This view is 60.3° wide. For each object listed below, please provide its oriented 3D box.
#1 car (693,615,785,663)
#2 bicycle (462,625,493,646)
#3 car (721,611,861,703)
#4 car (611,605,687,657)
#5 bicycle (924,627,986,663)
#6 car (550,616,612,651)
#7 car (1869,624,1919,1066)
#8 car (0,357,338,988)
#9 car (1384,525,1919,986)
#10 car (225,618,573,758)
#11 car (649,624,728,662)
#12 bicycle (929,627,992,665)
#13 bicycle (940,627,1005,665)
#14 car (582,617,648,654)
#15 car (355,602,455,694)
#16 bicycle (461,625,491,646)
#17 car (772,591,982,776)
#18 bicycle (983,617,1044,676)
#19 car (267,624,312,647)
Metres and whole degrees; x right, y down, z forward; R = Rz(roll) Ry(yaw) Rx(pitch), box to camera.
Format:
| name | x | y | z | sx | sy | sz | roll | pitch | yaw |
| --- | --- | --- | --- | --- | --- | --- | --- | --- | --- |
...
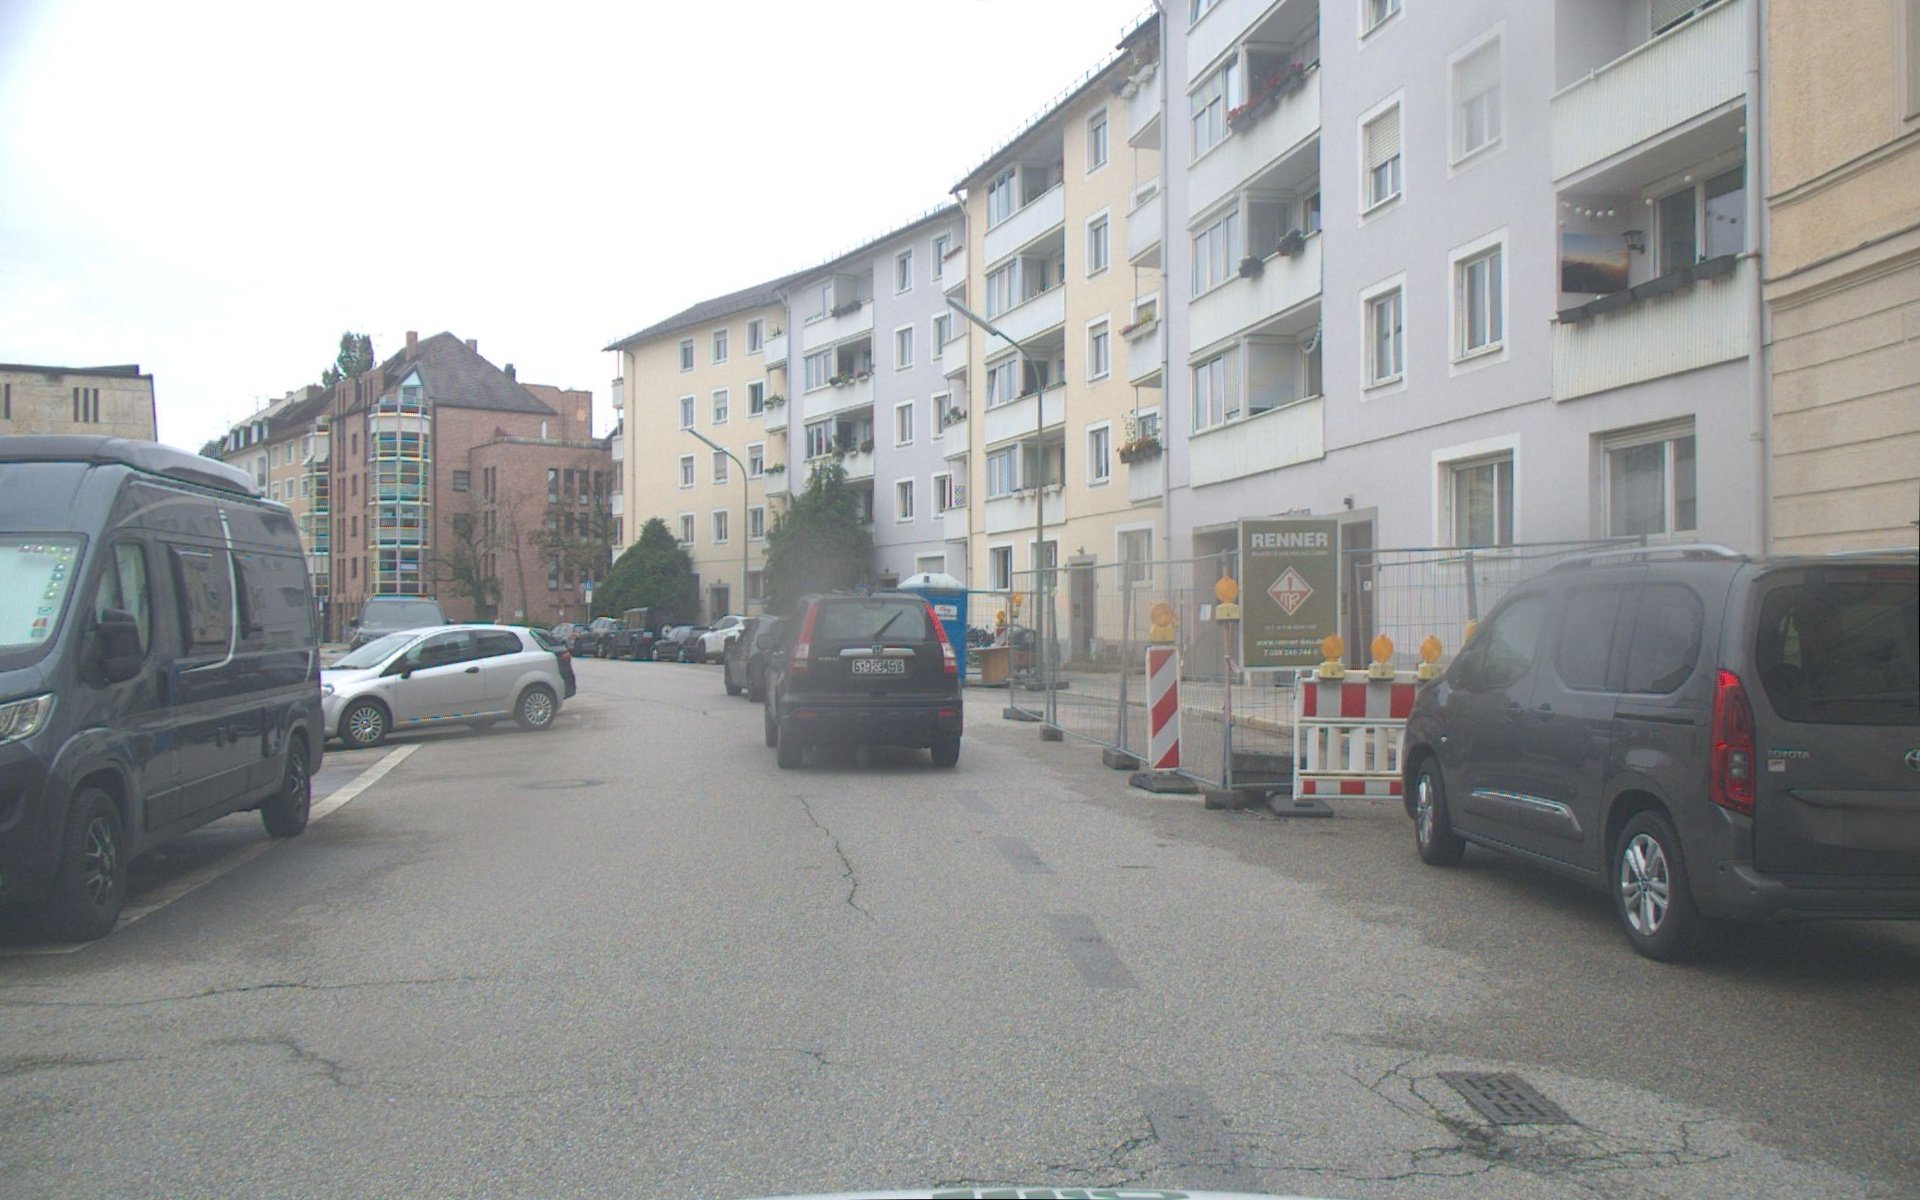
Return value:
| name | x | y | z | sx | sy | sz | roll | pitch | yaw |
| --- | --- | --- | --- | --- | --- | --- | --- | --- | --- |
| car | -7.427 | 1.281 | 55.312 | 1.705 | 1.509 | 3.961 | 1 | 0 | -29 |
| bicycle | -29.517 | 2.161 | 101.215 | 1.733 | 1.311 | 0.548 | 0 | -1 | -27 |
| car | -3.048 | 0.950 | 29.140 | 1.653 | 1.507 | 4.065 | 0 | -1 | -18 |
| car | -11.962 | 1.175 | 63.443 | 1.705 | 1.911 | 3.961 | 1 | 0 | -29 |
| bicycle | -0.159 | 1.411 | 52.329 | 1.837 | 1.110 | 0.643 | 0 | -1 | -18 |
| car | -16.334 | 1.436 | 71.126 | 1.679 | 1.413 | 3.566 | 1 | 0 | -29 |
| car | 3.906 | 0.819 | 3.919 | 1.672 | 1.472 | 3.832 | 1 | 0 | 5 |
| car | -5.465 | 0.343 | 9.839 | 2.125 | 2.688 | 6.003 | -1 | 0 | -10 |
| car | 3.813 | 0.650 | 8.811 | 1.742 | 1.838 | 4.272 | 1 | 0 | -4 |
| car | -7.419 | 1.138 | 22.144 | 1.655 | 1.507 | 4.060 | -6 | -2 | 43 |
| car | -9.791 | 1.531 | 59.466 | 1.679 | 1.258 | 3.566 | 1 | 0 | -29 |
| bicycle | 0.015 | 1.393 | 50.285 | 1.837 | 1.110 | 0.643 | 0 | -1 | -18 |
| bicycle | 0.373 | 1.345 | 48.655 | 1.837 | 1.110 | 0.563 | 0 | -1 | -18 |
| car | -14.077 | 1.438 | 67.355 | 1.679 | 1.413 | 3.566 | 1 | 0 | -29 |
| car | -11.381 | 0.937 | 33.765 | 1.656 | 1.737 | 4.482 | 0 | -1 | -22 |
| bicycle | -29.800 | 2.193 | 101.813 | 1.733 | 1.311 | 0.548 | 0 | -1 | -27 |
| car | -0.976 | 0.771 | 17.107 | 1.855 | 1.676 | 3.984 | 0 | -1 | -8 |
| bicycle | 1.304 | 1.127 | 40.866 | 0.951 | 1.413 | 2.556 | 0 | -1 | -11 |
| car | -44.939 | 2.356 | 110.791 | 1.795 | 1.498 | 4.061 | 1 | 0 | -38 |
